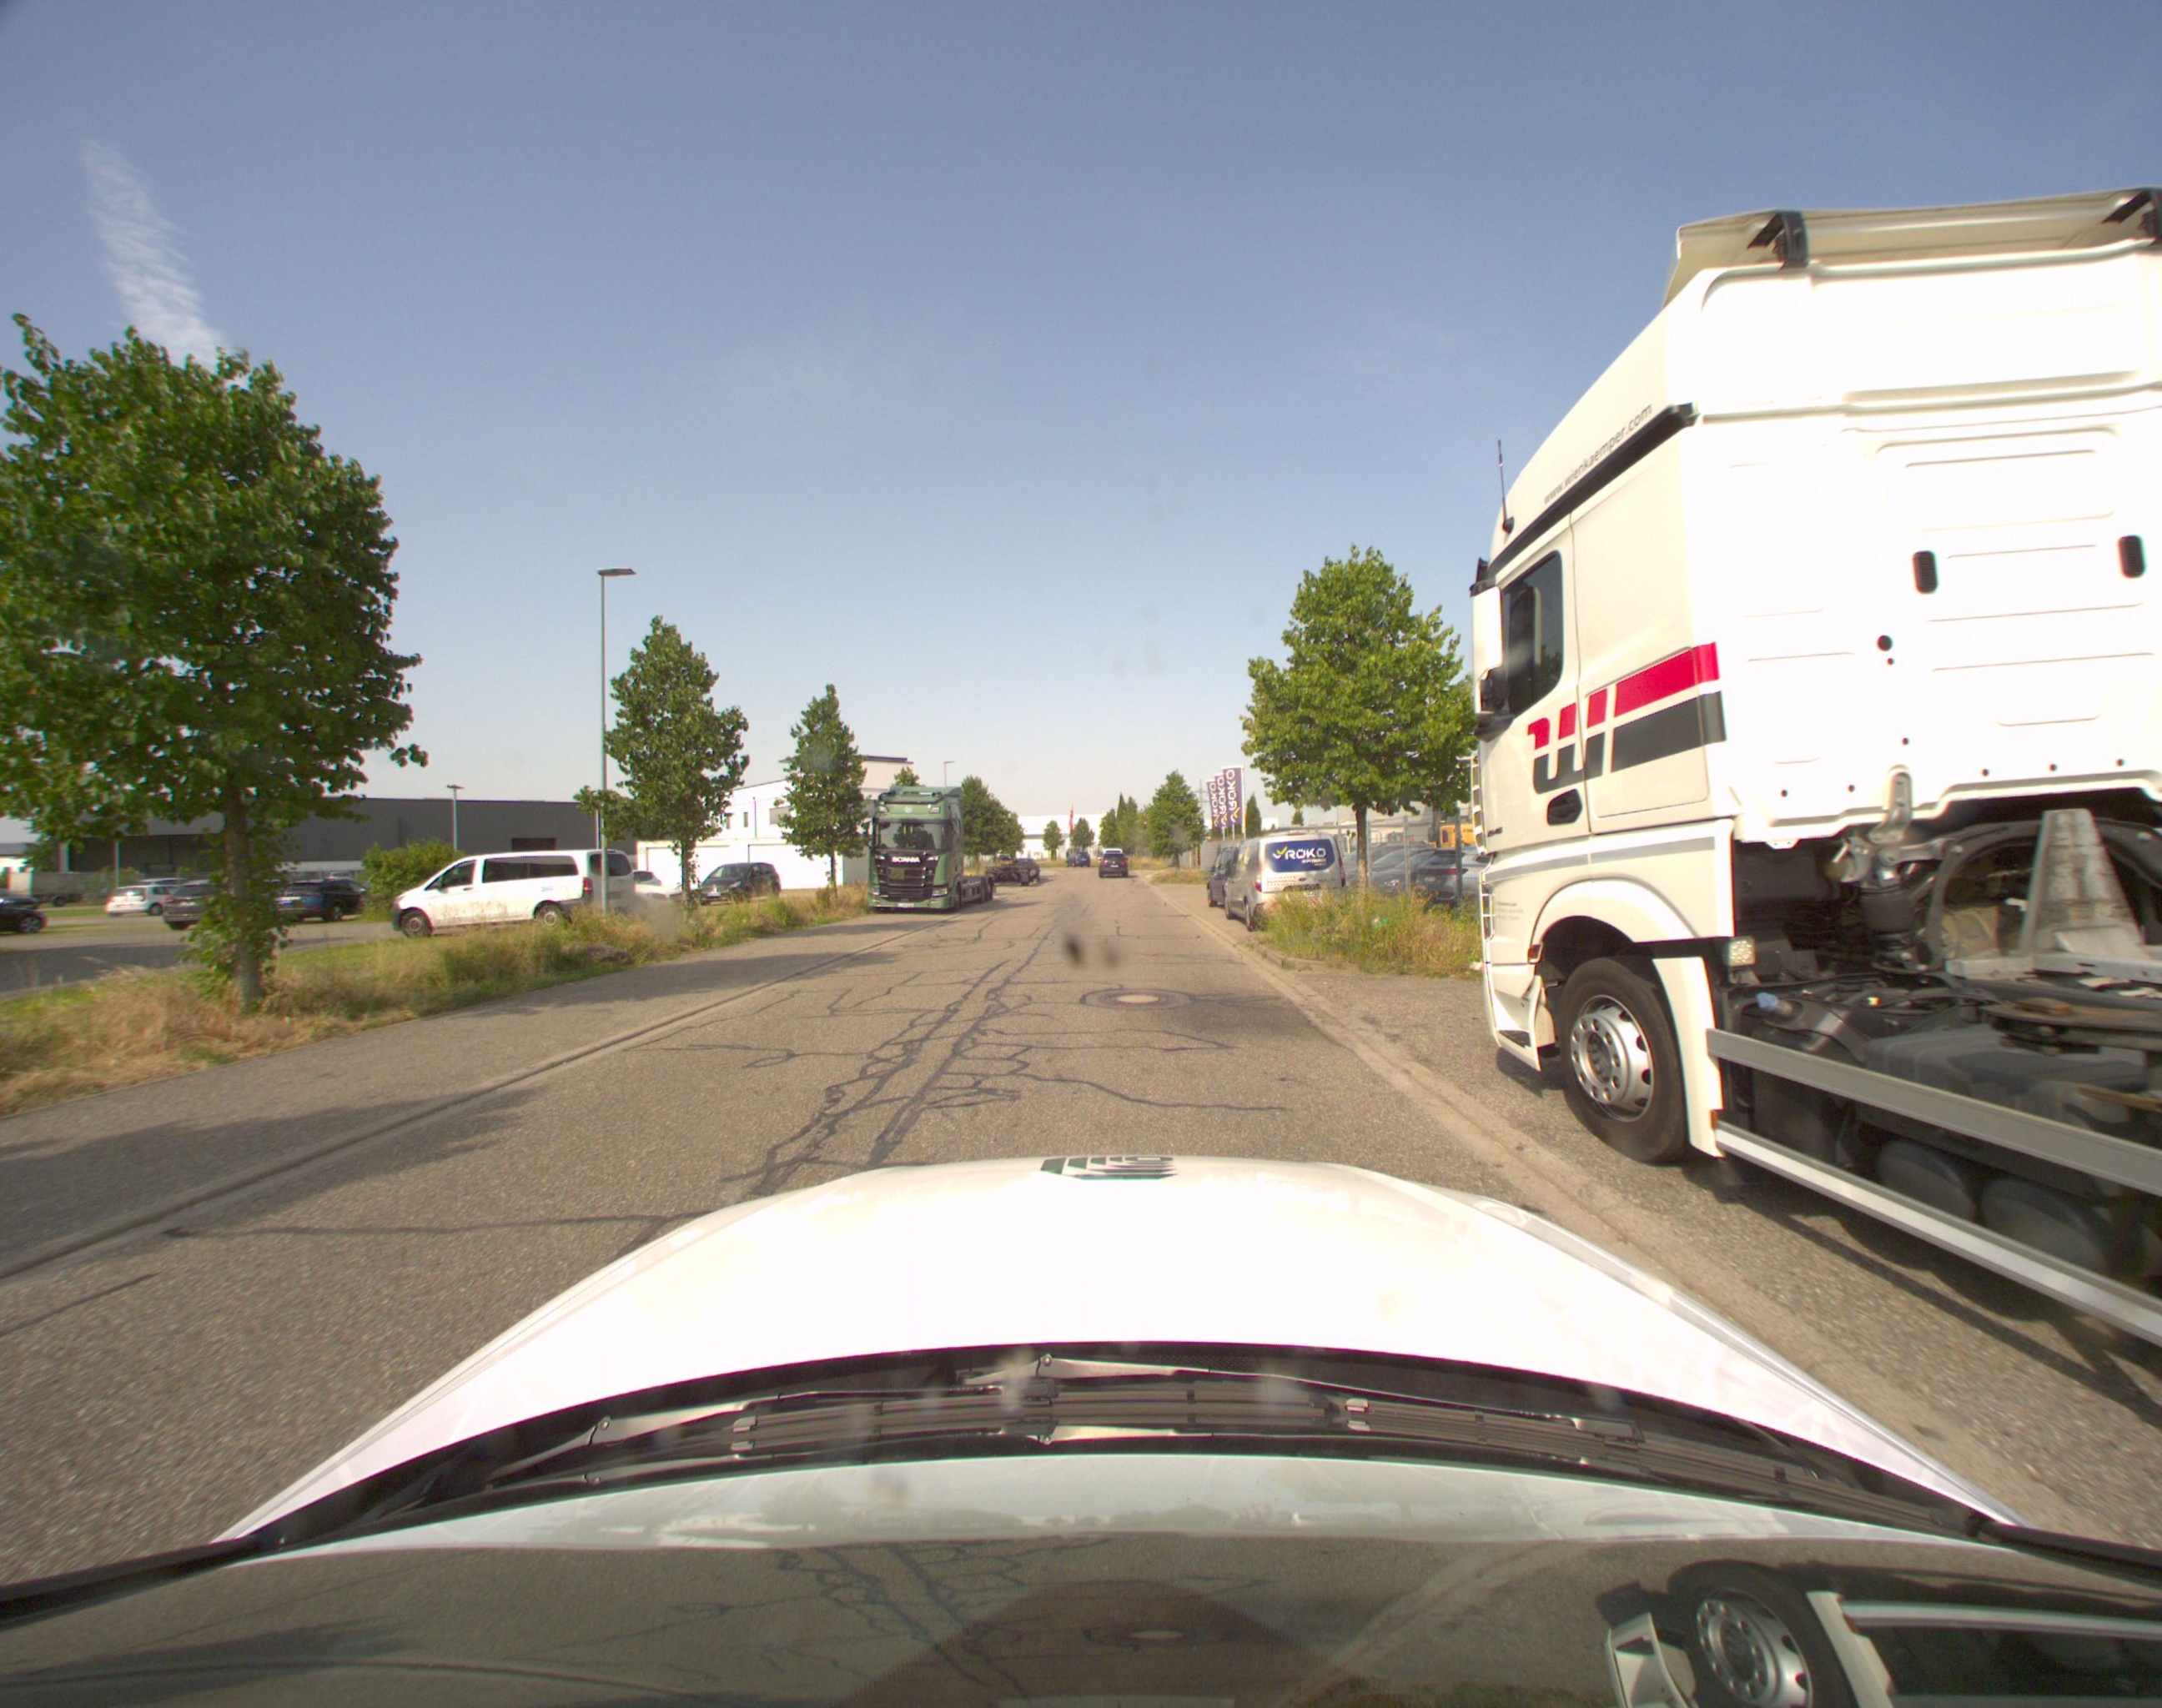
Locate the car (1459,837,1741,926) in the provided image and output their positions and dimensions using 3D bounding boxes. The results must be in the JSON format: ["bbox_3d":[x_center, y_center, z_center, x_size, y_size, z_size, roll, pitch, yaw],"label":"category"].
[{"bbox_3d":[9.137,0.448,14.541,3.978,1.477,1.789,0,0,-3],"label":"car"}]

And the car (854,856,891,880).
[{"bbox_3d":[-14.981,0.967,58.693,1.766,1.525,4.299,-2,1,-3],"label":"car"}]

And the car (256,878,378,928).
[{"bbox_3d":[-26.382,1.636,28.281,1.852,1.486,3.968,-1,-1,-24],"label":"car"}]

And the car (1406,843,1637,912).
[{"bbox_3d":[9.212,0.466,17.223,3.977,1.371,1.789,0,0,-3],"label":"car"}]

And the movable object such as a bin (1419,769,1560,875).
[{"bbox_3d":[20.409,-1.499,41.333,3.305,4.806,7.674,-2,0,1],"label":"movable object such as a bin"}]

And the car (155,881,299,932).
[{"bbox_3d":[-28.691,1.712,27.540,1.974,1.486,3.968,-1,-1,-24],"label":"car"}]

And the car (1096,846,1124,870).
[{"bbox_3d":[2.459,0.352,69.397,1.989,1.899,4.462,-2,0,-3],"label":"car"}]

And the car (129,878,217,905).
[{"bbox_3d":[-67.338,2.750,60.484,1.856,1.768,4.007,-2,0,6],"label":"car"}]

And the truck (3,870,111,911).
[{"bbox_3d":[-68.192,2.402,54.329,1.983,2.514,4.008,-2,0,7],"label":"truck"}]

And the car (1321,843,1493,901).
[{"bbox_3d":[9.323,0.479,23.534,4.213,1.495,1.898,-2,1,-2],"label":"car"}]

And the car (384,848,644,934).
[{"bbox_3d":[-13.311,0.826,19.340,4.686,1.836,2.104,-1,0,2],"label":"car"}]

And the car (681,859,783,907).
[{"bbox_3d":[-13.902,1.106,32.780,1.987,1.686,4.699,-2,0,1],"label":"car"}]

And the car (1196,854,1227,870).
[{"bbox_3d":[11.546,0.678,72.241,1.875,1.358,4.771,-2,0,-1],"label":"car"}]

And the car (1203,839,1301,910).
[{"bbox_3d":[4.502,0.530,22.077,1.819,1.720,4.249,-1,-1,1],"label":"car"}]

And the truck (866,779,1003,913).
[{"bbox_3d":[-4.701,-0.186,28.398,2.445,3.882,9.811,0,-1,3],"label":"truck"}]

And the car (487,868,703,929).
[{"bbox_3d":[-13.096,1.175,22.123,4.704,1.431,2.003,-1,0,4],"label":"car"}]

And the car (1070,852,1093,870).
[{"bbox_3d":[0.000,0.675,84.241,1.991,1.804,3.992,0,0,-6],"label":"car"}]

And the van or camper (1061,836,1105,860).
[{"bbox_3d":[0.132,-0.717,104.567,2.363,2.848,7.273,-1,0,-29],"label":"van or camper"}]

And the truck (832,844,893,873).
[{"bbox_3d":[-30.960,0.683,114.927,2.649,3.929,12.761,-1,-1,-42],"label":"truck"}]

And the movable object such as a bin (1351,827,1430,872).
[{"bbox_3d":[18.621,-0.235,49.411,2.910,2.491,5.343,-2,0,3],"label":"movable object such as a bin"}]

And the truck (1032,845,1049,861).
[{"bbox_3d":[-7.671,-0.241,154.738,2.440,2.826,8.008,-1,0,3],"label":"truck"}]

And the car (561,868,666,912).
[{"bbox_3d":[-18.722,1.409,32.833,1.699,1.516,4.214,-3,0,1],"label":"car"}]

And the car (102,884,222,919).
[{"bbox_3d":[-44.771,2.277,39.826,1.574,1.481,4.139,-2,-1,-9],"label":"car"}]

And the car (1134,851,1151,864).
[{"bbox_3d":[7.762,0.439,103.141,1.719,1.643,3.995,0,0,-3],"label":"car"}]

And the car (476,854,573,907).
[{"bbox_3d":[-29.659,1.380,43.635,2.050,2.547,5.443,-2,-1,-9],"label":"car"}]

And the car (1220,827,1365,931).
[{"bbox_3d":[4.133,0.471,16.715,1.985,1.789,4.603,-1,-1,3],"label":"car"}]

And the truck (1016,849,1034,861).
[{"bbox_3d":[-10.634,0.139,154.863,2.440,2.265,8.008,-1,0,3],"label":"truck"}]

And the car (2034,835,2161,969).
[{"bbox_3d":[12.514,0.498,7.935,1.877,1.432,4.004,-1,0,3],"label":"car"}]

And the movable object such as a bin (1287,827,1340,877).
[{"bbox_3d":[13.784,-0.107,48.580,1.879,2.752,5.163,-2,0,3],"label":"movable object such as a bin"}]

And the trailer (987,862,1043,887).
[{"bbox_3d":[-3.757,1.136,48.096,2.120,1.232,7.167,0,1,5],"label":"trailer"}]

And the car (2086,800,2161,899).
[{"bbox_3d":[23.963,-0.145,16.646,4.338,2.002,1.897,-1,0,3],"label":"car"}]

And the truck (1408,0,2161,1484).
[{"bbox_3d":[3.568,-0.709,0.662,2.735,4.015,9.690,-4,0,2],"label":"truck"}]

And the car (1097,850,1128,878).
[{"bbox_3d":[2.124,0.653,54.803,1.986,1.804,4.002,0,0,2],"label":"car"}]
